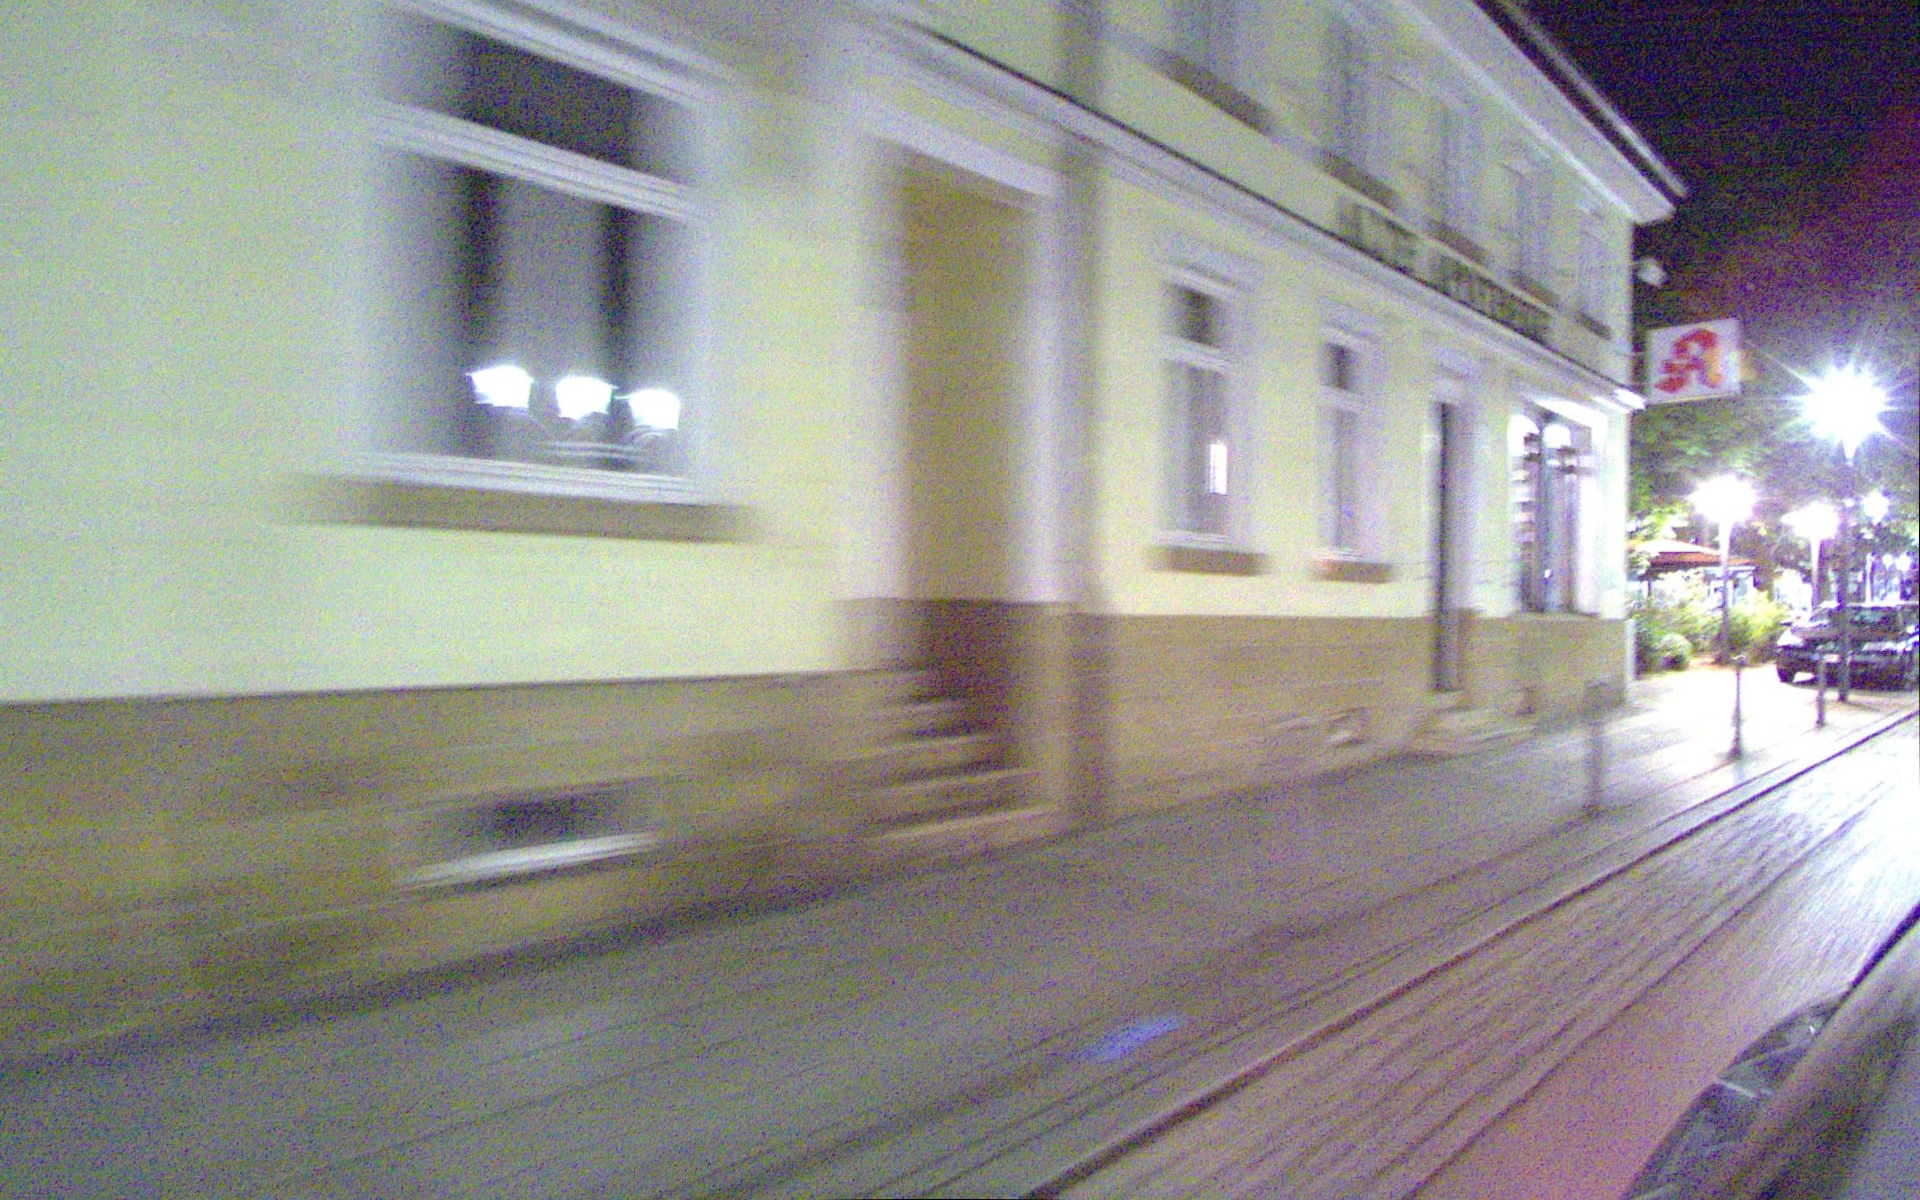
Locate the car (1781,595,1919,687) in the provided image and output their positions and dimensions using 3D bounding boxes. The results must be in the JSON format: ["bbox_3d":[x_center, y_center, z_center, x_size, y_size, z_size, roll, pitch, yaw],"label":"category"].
[{"bbox_3d":[16.162,0.641,17.878,4.028,1.394,1.666,0,2,-38],"label":"car"}]

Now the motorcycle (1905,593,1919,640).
[{"bbox_3d":[29.250,0.510,29.653,0.647,1.408,2.276,0,1,-16],"label":"motorcycle"}]

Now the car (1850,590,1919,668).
[{"bbox_3d":[20.177,0.565,20.990,4.384,1.482,1.758,0,2,-38],"label":"car"}]
